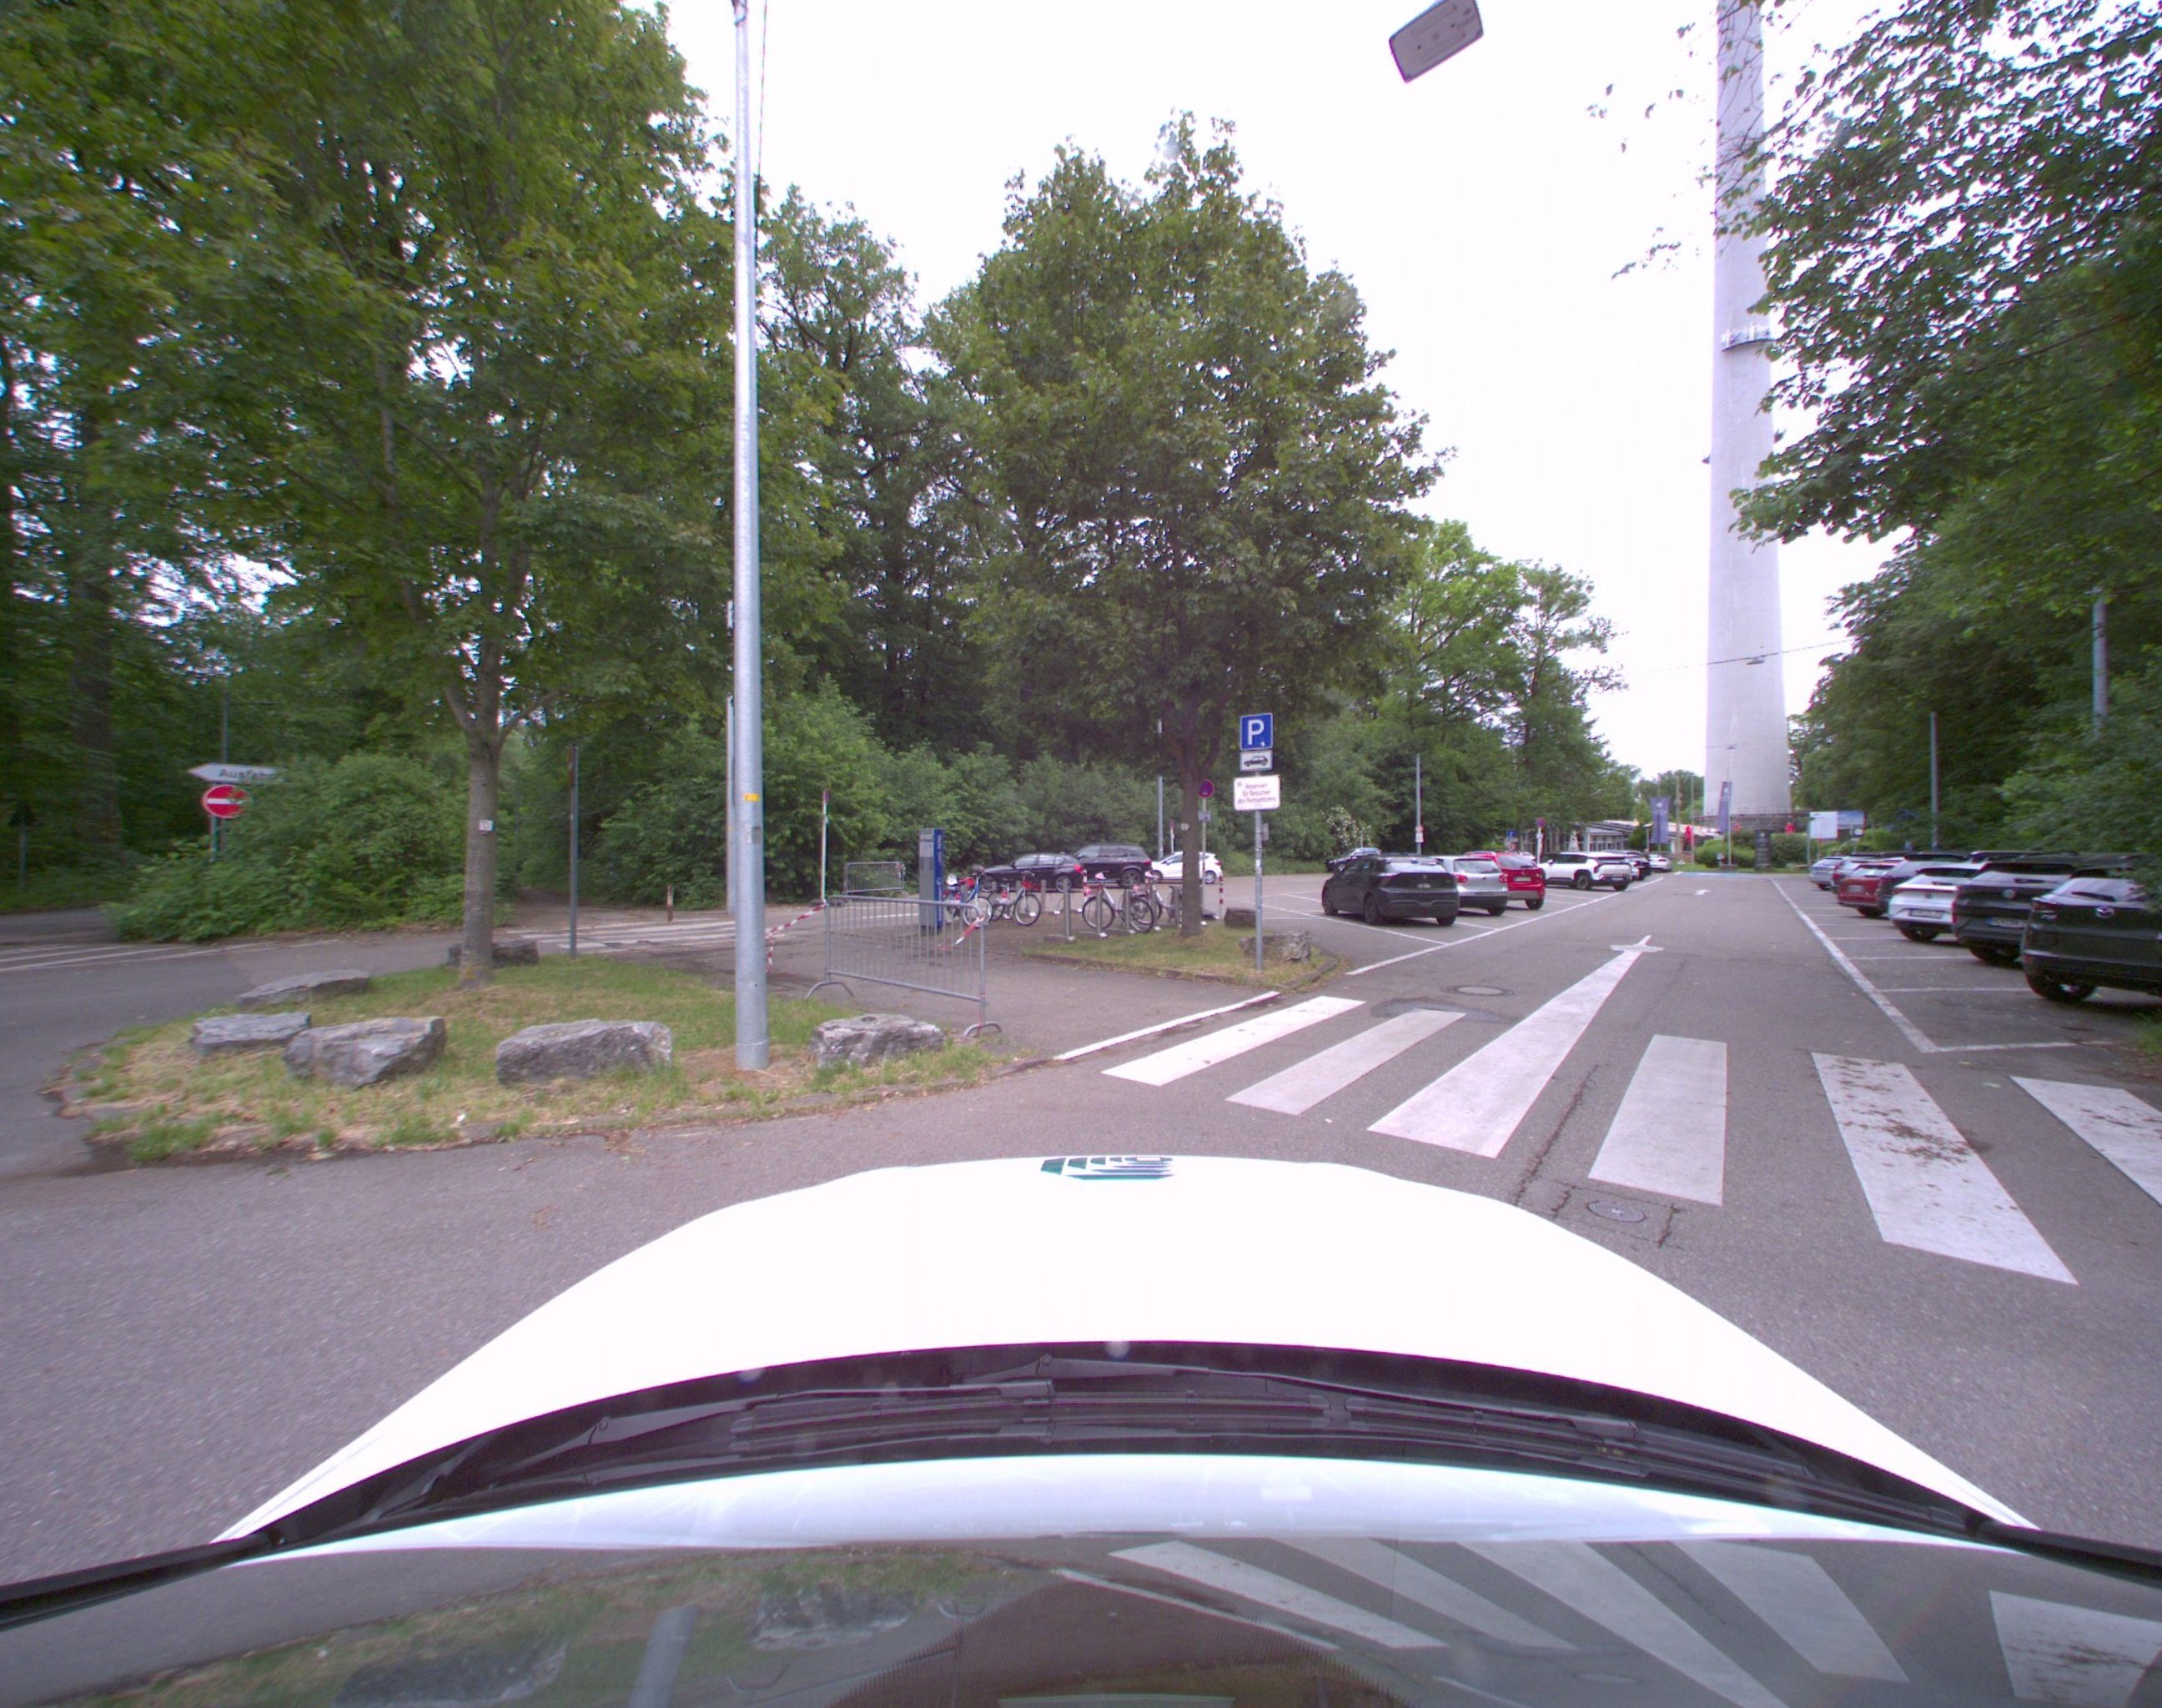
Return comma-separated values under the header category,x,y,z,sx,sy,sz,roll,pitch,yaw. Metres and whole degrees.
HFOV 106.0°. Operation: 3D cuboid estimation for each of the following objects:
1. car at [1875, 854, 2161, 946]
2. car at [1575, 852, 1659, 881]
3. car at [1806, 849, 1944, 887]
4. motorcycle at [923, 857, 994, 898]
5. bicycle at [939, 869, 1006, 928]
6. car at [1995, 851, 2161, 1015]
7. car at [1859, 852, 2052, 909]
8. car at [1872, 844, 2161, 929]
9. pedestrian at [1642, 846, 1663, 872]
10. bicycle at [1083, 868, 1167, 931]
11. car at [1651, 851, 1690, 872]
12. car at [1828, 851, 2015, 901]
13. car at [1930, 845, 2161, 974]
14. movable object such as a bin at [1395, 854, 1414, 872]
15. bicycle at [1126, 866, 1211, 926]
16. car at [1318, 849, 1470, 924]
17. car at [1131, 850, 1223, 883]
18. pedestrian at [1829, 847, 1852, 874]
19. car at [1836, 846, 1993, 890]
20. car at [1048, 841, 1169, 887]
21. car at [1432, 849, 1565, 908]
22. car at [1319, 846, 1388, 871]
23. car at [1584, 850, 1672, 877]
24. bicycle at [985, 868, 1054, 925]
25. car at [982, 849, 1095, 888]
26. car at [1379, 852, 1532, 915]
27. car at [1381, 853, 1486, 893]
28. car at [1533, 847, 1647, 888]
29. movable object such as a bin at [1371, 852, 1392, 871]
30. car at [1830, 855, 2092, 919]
category,x,y,z,sx,sy,sz,roll,pitch,yaw
car,16.433,0.737,13.863,4.094,1.438,1.869,0,0,-2
car,28.160,0.618,42.936,1.763,1.443,3.841,0,0,-4
car,32.781,0.555,33.696,3.974,1.467,1.835,0,0,0
motorcycle,-3.747,0.704,24.977,2.013,1.207,0.732,0,0,6
bicycle,-2.218,0.873,16.487,0.485,1.111,1.677,1,0,-41
car,11.670,0.731,8.013,3.774,1.492,1.696,0,0,-6
car,23.956,0.695,22.390,3.562,1.505,1.733,0,0,-3
car,19.098,0.634,16.685,4.094,1.618,1.841,0,0,-2
pedestrian,37.562,0.328,53.544,0.892,1.725,0.763,0,0,-3
bicycle,0.809,0.834,15.400,1.664,1.111,0.485,0,0,44
car,41.850,0.492,57.793,1.875,1.428,4.025,0,0,41
car,25.822,0.646,25.104,4.165,1.457,1.802,0,0,-4
car,14.562,0.685,11.158,4.185,1.580,1.953,0,0,-7
movable object such as a bin,24.074,0.655,60.627,1.116,1.314,1.188,0,0,11
bicycle,1.727,0.811,16.297,1.766,1.111,0.485,0,0,44
car,6.977,0.668,18.650,1.820,1.523,4.098,0,0,-2
car,4.395,0.553,37.689,3.979,1.510,1.867,0,0,-4
pedestrian,47.803,0.394,51.276,0.897,1.725,0.759,0,0,-22
car,31.710,0.510,31.065,4.241,1.636,1.962,0,0,-5
car,1.028,0.384,32.687,4.684,1.767,2.109,0,0,-4
car,11.958,0.642,23.604,1.680,1.585,3.645,0,0,-7
car,18.651,0.326,55.841,4.049,1.685,1.878,0,0,-3
car,30.307,0.489,45.294,1.752,1.443,4.270,0,0,-6
bicycle,-1.309,0.859,17.071,0.509,1.111,1.664,1,0,-43
car,-1.529,0.515,29.567,3.979,1.376,1.737,0,0,-4
car,9.653,0.697,21.389,1.869,1.483,3.991,0,0,-7
car,13.657,0.687,31.869,1.862,1.442,4.306,0,0,-7
car,21.055,0.525,33.914,1.839,1.596,4.180,0,0,-7
movable object such as a bin,22.470,0.567,60.925,1.113,1.425,1.137,0,0,44
car,20.924,0.750,19.501,4.268,1.414,1.928,0,0,0
